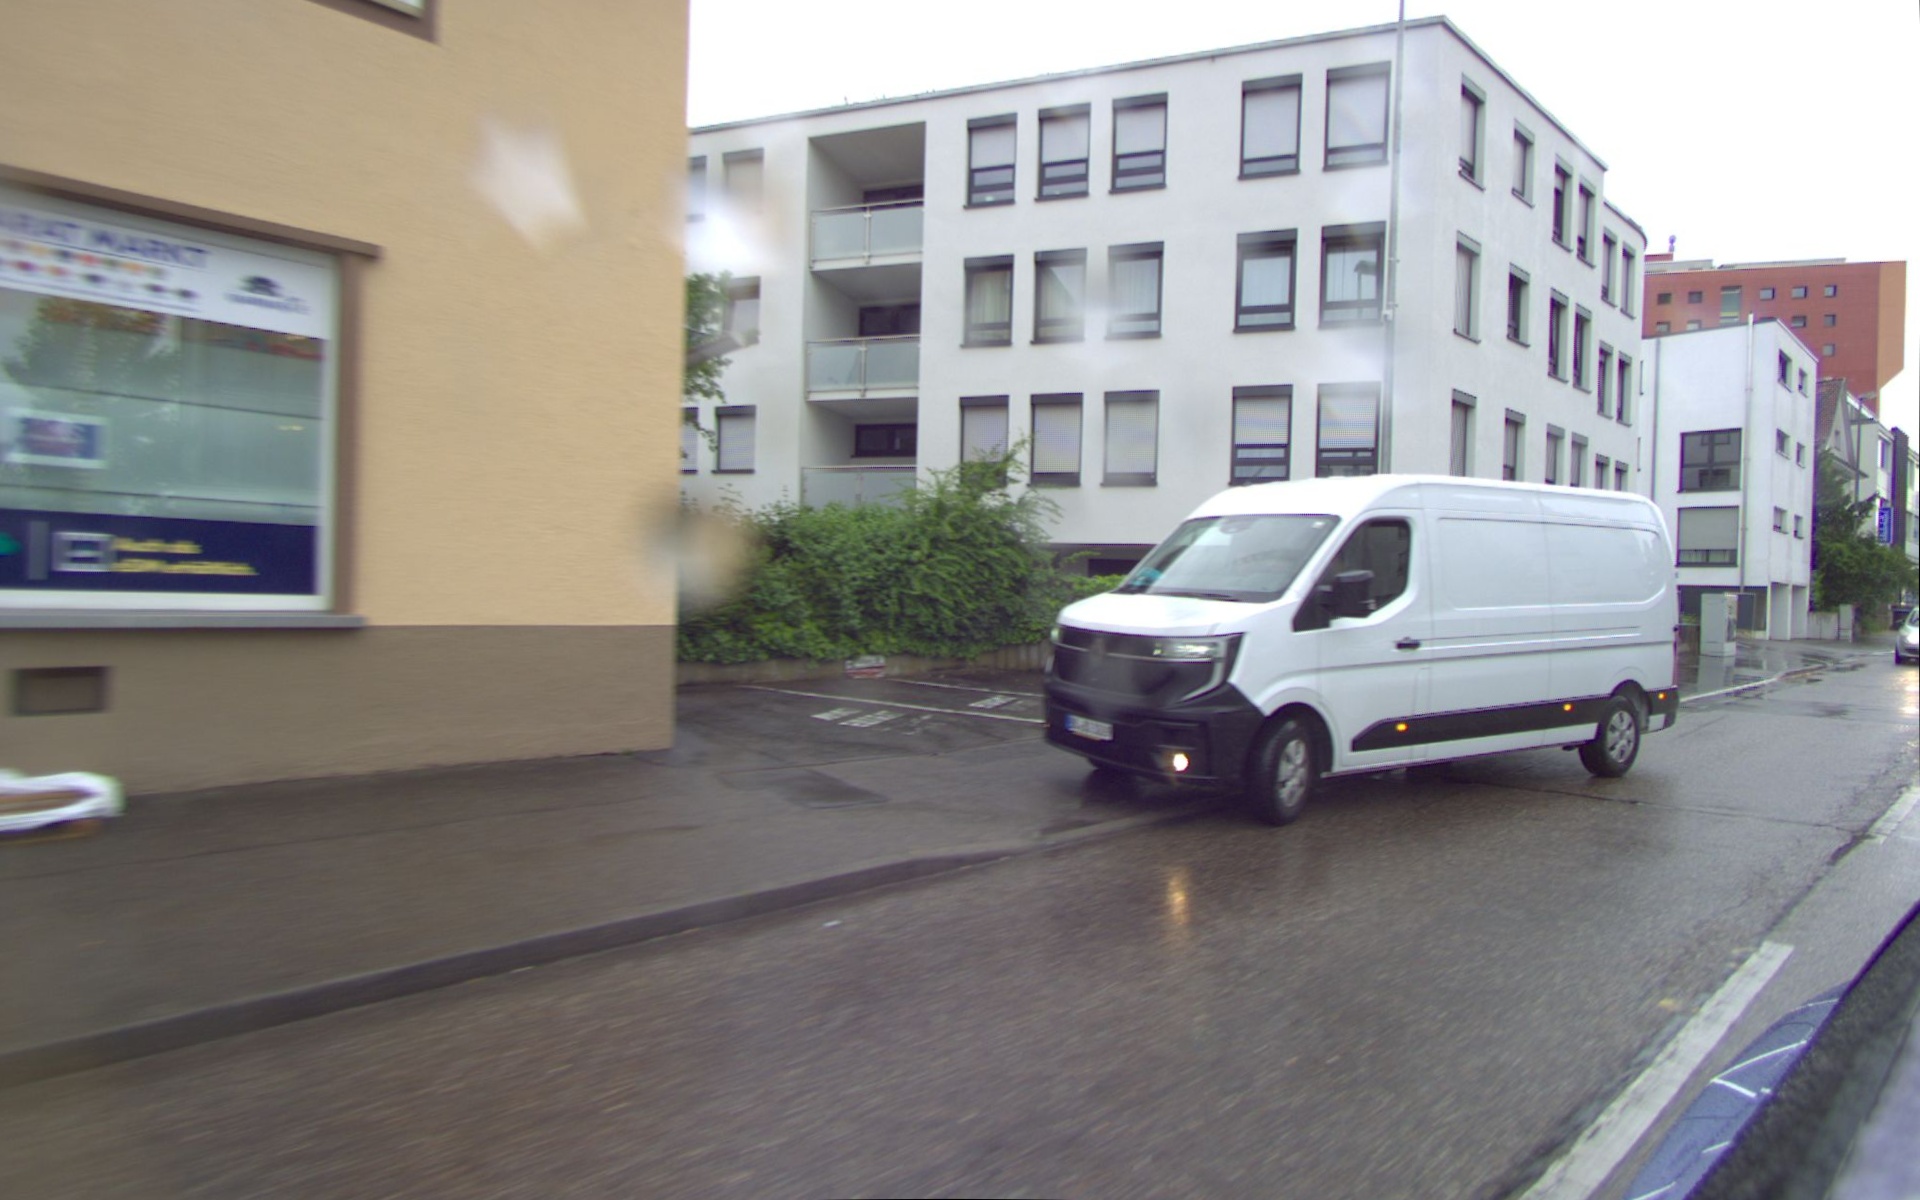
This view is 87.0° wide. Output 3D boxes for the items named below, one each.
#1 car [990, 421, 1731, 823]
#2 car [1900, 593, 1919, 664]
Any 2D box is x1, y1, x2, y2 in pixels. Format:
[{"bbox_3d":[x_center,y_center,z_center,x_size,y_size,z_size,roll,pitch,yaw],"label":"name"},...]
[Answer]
[{"bbox_3d":[3.633,0.046,8.669,6.492,2.411,2.302,-1,3,-30],"label":"car"},{"bbox_3d":[26.357,0.739,26.723,4.290,1.641,2.013,-3,3,-44],"label":"car"}]
